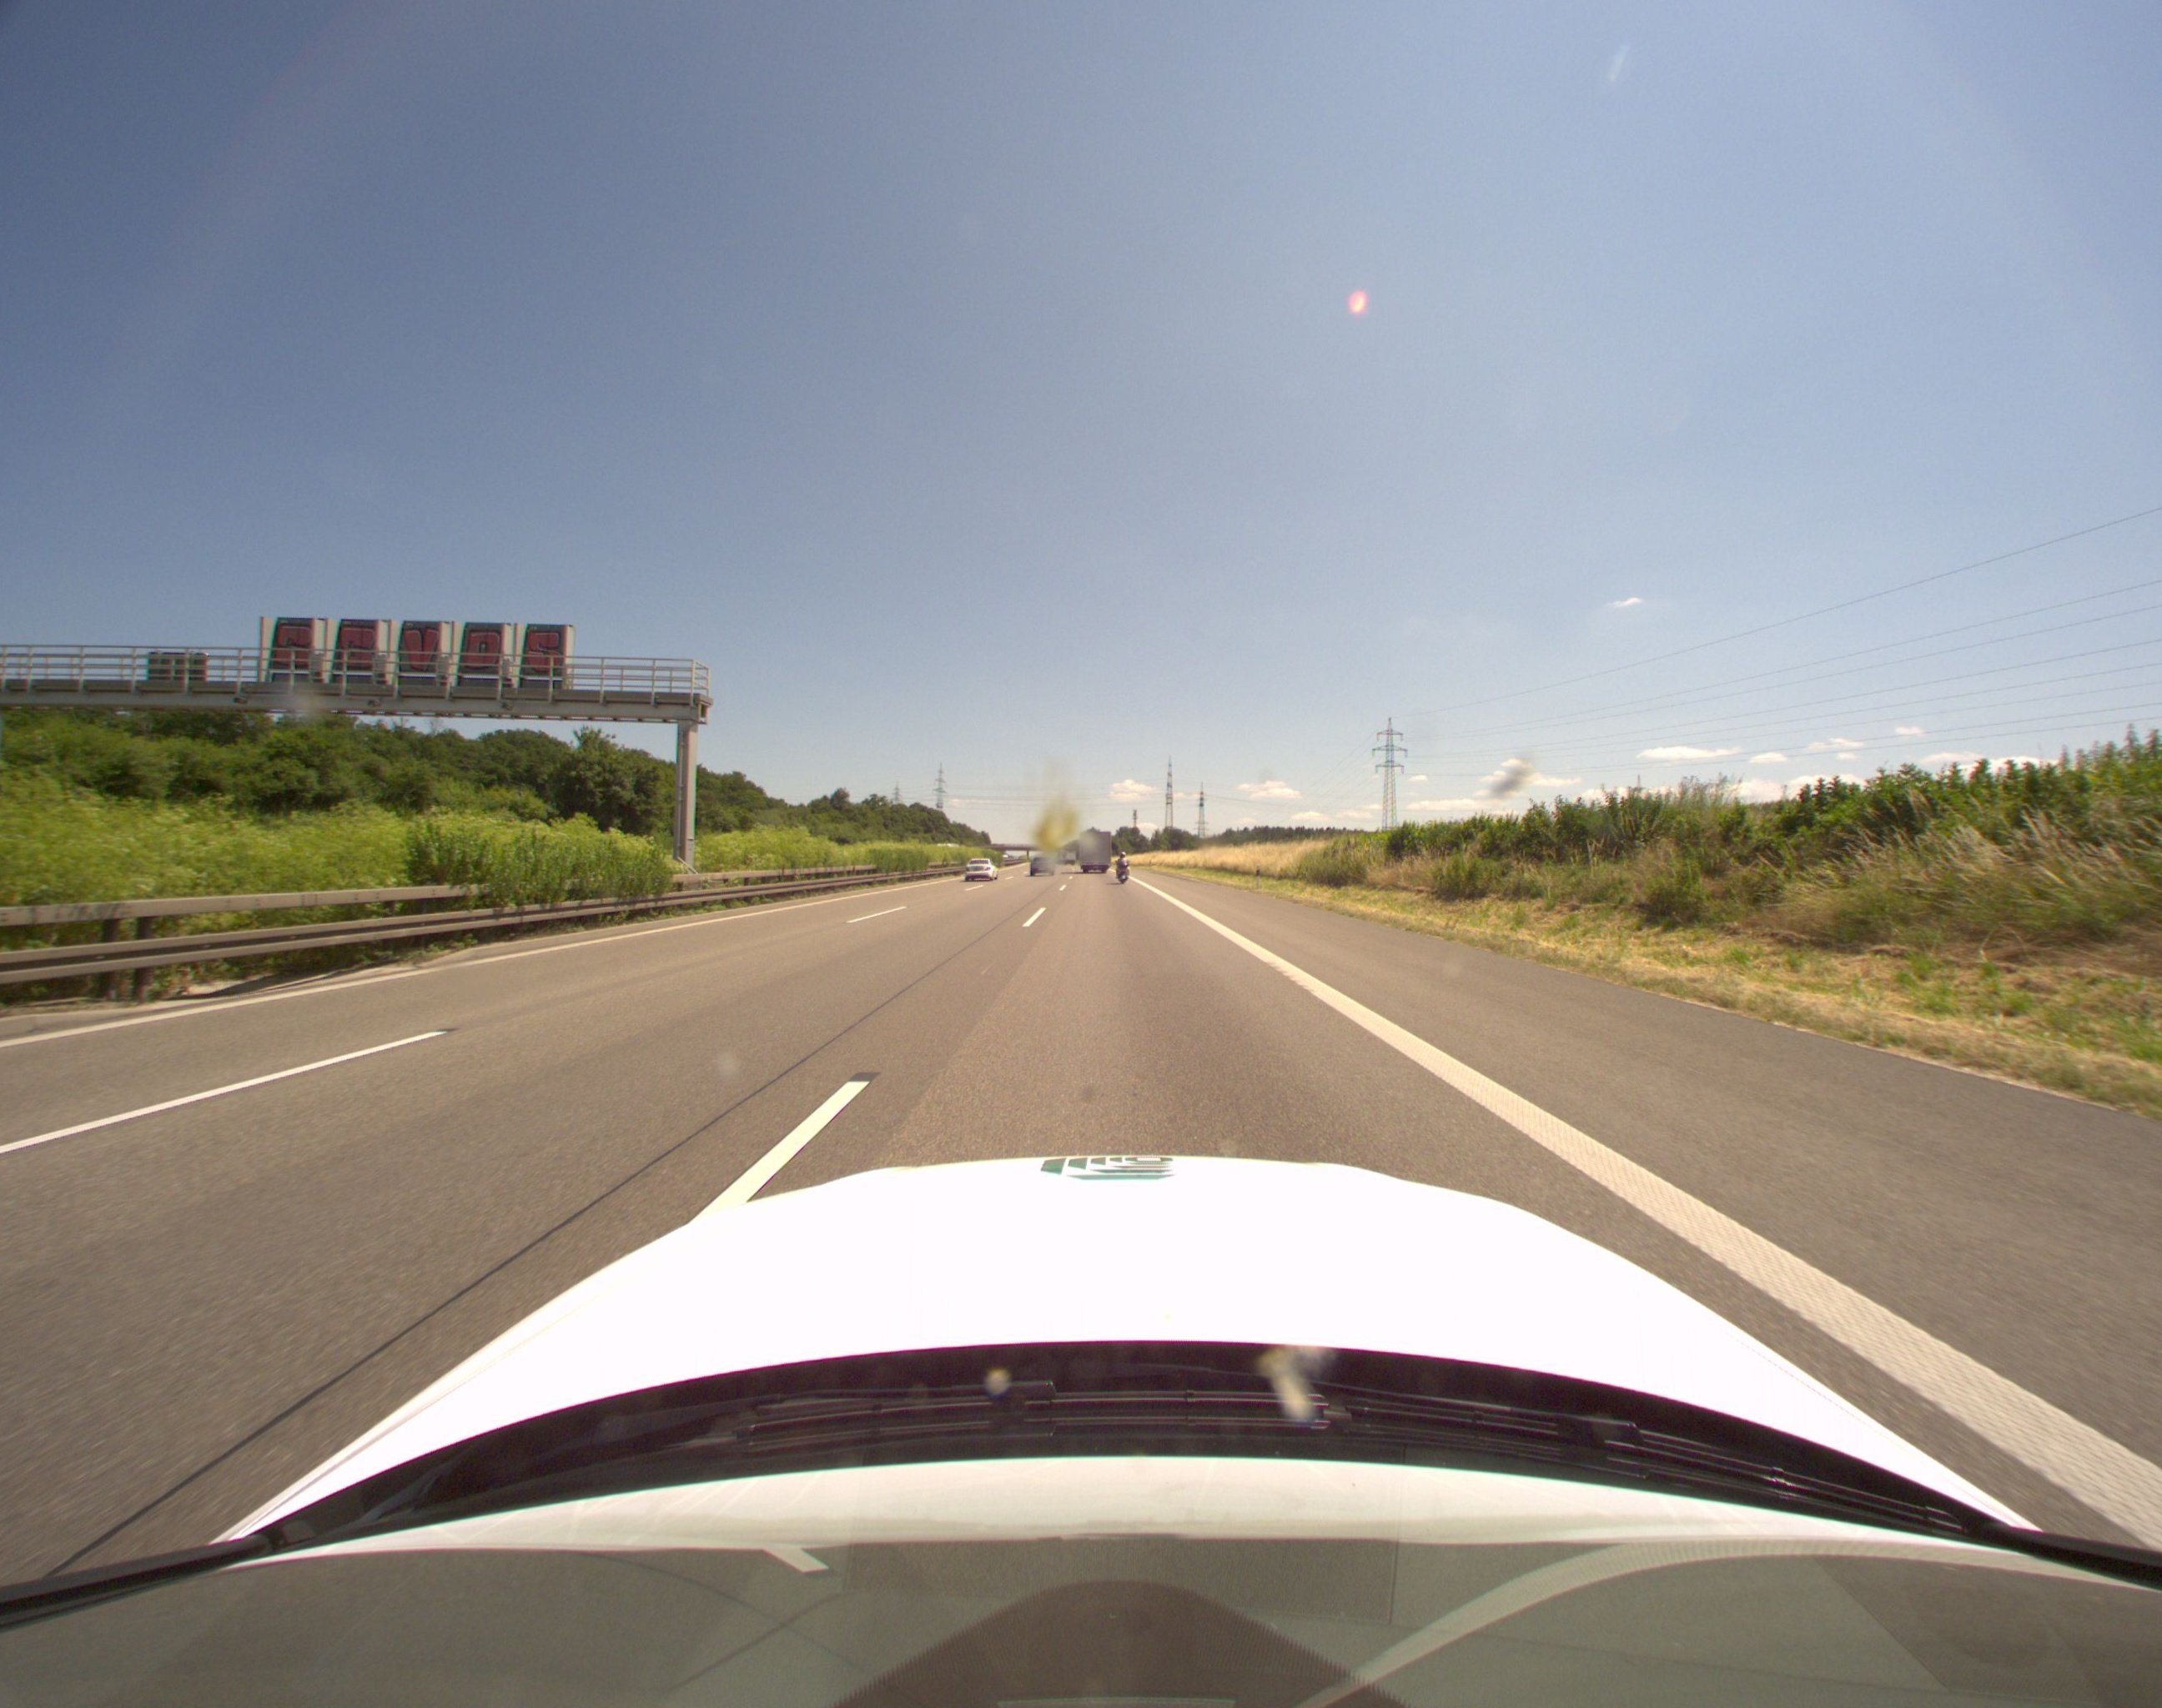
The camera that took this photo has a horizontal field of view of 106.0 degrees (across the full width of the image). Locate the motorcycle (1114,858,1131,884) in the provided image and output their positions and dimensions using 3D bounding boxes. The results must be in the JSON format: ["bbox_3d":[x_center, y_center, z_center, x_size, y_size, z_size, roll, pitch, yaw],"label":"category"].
[{"bbox_3d":[2.180,0.873,42.836,0.806,1.306,1.783,-1,0,2],"label":"motorcycle"}]

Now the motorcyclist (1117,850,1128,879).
[{"bbox_3d":[2.176,0.533,42.828,0.570,1.479,0.701,-1,0,1],"label":"motorcyclist"}]

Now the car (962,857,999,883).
[{"bbox_3d":[-6.369,0.994,51.894,1.813,1.540,3.915,-1,1,0],"label":"car"}]

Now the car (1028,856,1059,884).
[{"bbox_3d":[-2.820,1.210,62.433,1.985,2.013,4.003,-1,0,3],"label":"car"}]

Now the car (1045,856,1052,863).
[{"bbox_3d":[-9.069,1.504,225.820,1.896,1.925,3.998,-1,0,-1],"label":"car"}]

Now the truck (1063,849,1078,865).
[{"bbox_3d":[-2.678,0.818,206.021,3.475,3.912,7.285,-1,0,-1],"label":"truck"}]

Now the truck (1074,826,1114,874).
[{"bbox_3d":[1.228,-0.292,71.882,3.209,3.924,9.064,-1,0,2],"label":"truck"}]
